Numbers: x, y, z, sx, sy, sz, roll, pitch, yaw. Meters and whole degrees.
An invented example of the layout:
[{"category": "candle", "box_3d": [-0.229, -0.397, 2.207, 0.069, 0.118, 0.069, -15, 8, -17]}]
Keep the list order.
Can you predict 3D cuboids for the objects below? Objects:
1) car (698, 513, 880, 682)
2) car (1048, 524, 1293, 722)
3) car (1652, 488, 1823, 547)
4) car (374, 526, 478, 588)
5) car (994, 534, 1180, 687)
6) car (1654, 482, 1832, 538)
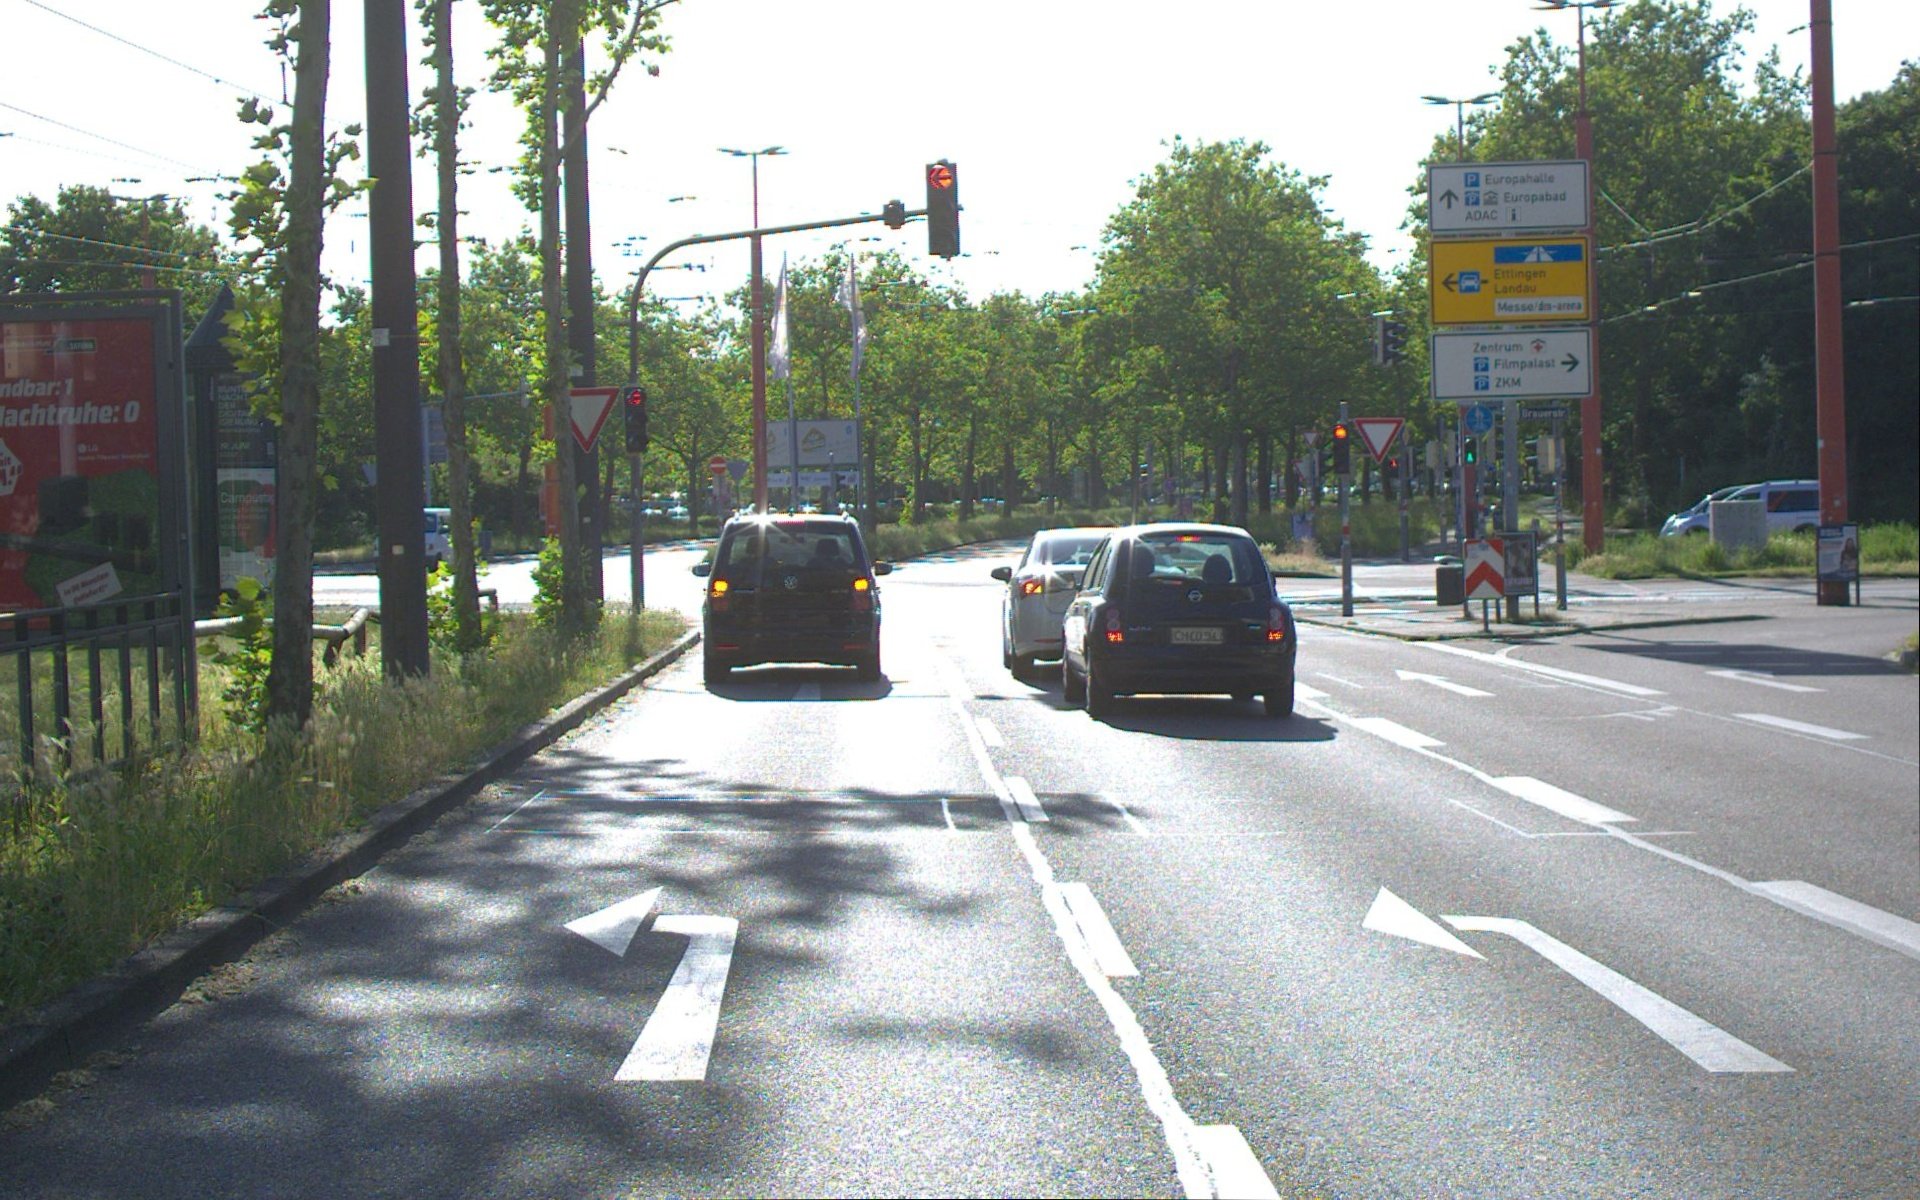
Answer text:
[{"category": "car", "box_3d": [-1.701, -0.051, 34.276, 1.710, 1.598, 3.350, 0, 1, -3]}, {"category": "car", "box_3d": [1.673, 0.140, 28.344, 1.638, 1.489, 3.504, 0, 2, -3]}, {"category": "car", "box_3d": [19.874, -2.099, 87.864, 3.992, 1.471, 1.787, 1, 1, 24]}, {"category": "car", "box_3d": [-15.545, -1.266, 100.299, 1.823, 1.774, 4.566, 0, 1, 7]}, {"category": "car", "box_3d": [1.236, 0.070, 34.999, 1.678, 1.470, 4.131, 0, 1, -1]}, {"category": "car", "box_3d": [19.240, -2.204, 84.447, 3.992, 1.333, 1.727, 1, 1, 24]}]
